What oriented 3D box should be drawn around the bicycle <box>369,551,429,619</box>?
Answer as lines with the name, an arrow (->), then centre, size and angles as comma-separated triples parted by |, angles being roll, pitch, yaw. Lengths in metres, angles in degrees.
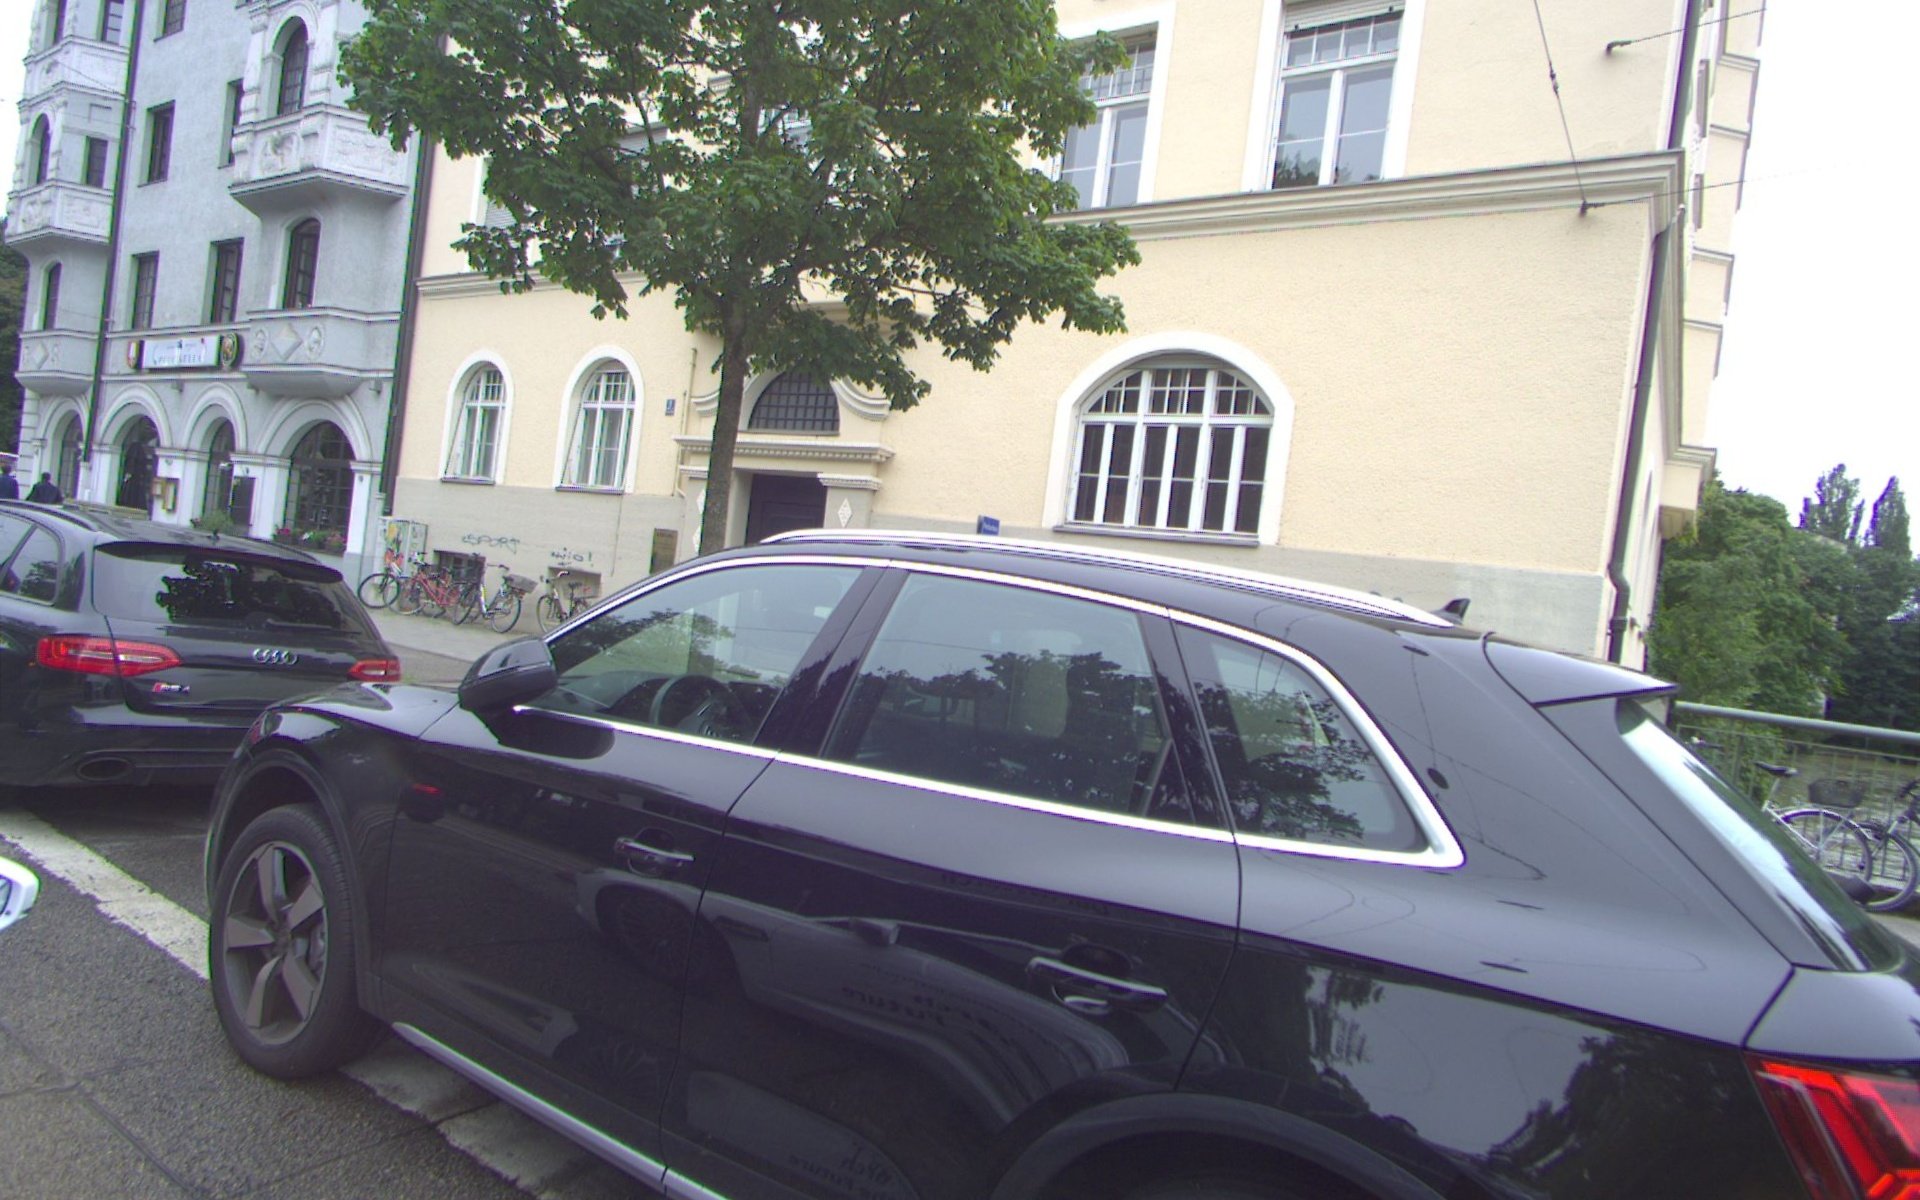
bicycle -> -9.782, -0.266, 17.518 | 1.203, 1.051, 0.242 | 7, -1, 32

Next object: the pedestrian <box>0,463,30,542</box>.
pedestrian -> -23.319, -2.392, 24.416 | 0.855, 1.837, 0.706 | 7, -1, 32

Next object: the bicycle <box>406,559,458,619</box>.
bicycle -> -9.272, -0.190, 17.661 | 0.871, 0.941, 0.306 | 7, -1, 34

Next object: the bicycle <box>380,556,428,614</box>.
bicycle -> -10.054, -0.277, 18.186 | 0.871, 0.941, 0.291 | 7, -1, 33

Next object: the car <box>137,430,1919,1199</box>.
car -> -0.121, 0.617, 2.679 | 4.414, 1.677, 1.777 | 7, -1, 32

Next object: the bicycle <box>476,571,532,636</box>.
bicycle -> -7.422, 0.050, 16.364 | 0.871, 0.941, 0.285 | 7, -1, 33

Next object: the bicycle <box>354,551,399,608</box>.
bicycle -> -10.830, -0.384, 18.671 | 0.871, 0.941, 0.259 | 7, -1, 33

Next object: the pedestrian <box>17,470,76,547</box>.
pedestrian -> -22.659, -2.269, 24.947 | 0.829, 1.752, 0.706 | 7, -1, 32

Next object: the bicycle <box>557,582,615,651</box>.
bicycle -> -5.708, 0.246, 15.359 | 0.871, 0.941, 0.222 | 7, -1, 31

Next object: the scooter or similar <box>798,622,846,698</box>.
scooter or similar -> -1.770, 0.773, 12.944 | 0.413, 0.921, 0.348 | 8, -1, 11

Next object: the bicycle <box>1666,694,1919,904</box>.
bicycle -> 6.591, 1.516, 7.938 | 1.511, 1.327, 0.332 | 7, -1, 30

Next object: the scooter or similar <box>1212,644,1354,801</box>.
scooter or similar -> 3.118, 1.162, 9.747 | 1.123, 1.328, 0.262 | 7, -1, 32

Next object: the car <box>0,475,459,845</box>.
car -> -5.155, 0.105, 5.871 | 4.525, 1.442, 1.720 | 7, -2, 31

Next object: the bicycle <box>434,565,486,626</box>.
bicycle -> -8.501, -0.077, 17.106 | 0.871, 0.941, 0.273 | 7, -1, 33

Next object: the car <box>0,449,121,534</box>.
car -> -36.724, -4.384, 39.378 | 2.192, 2.642, 5.310 | 7, -2, 29

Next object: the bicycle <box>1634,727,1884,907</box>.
bicycle -> 6.304, 1.688, 8.004 | 1.417, 1.119, 0.287 | 7, 0, 24

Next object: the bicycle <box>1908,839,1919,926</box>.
bicycle -> 7.530, 1.947, 7.138 | 1.122, 0.948, 0.249 | 6, 3, 10
